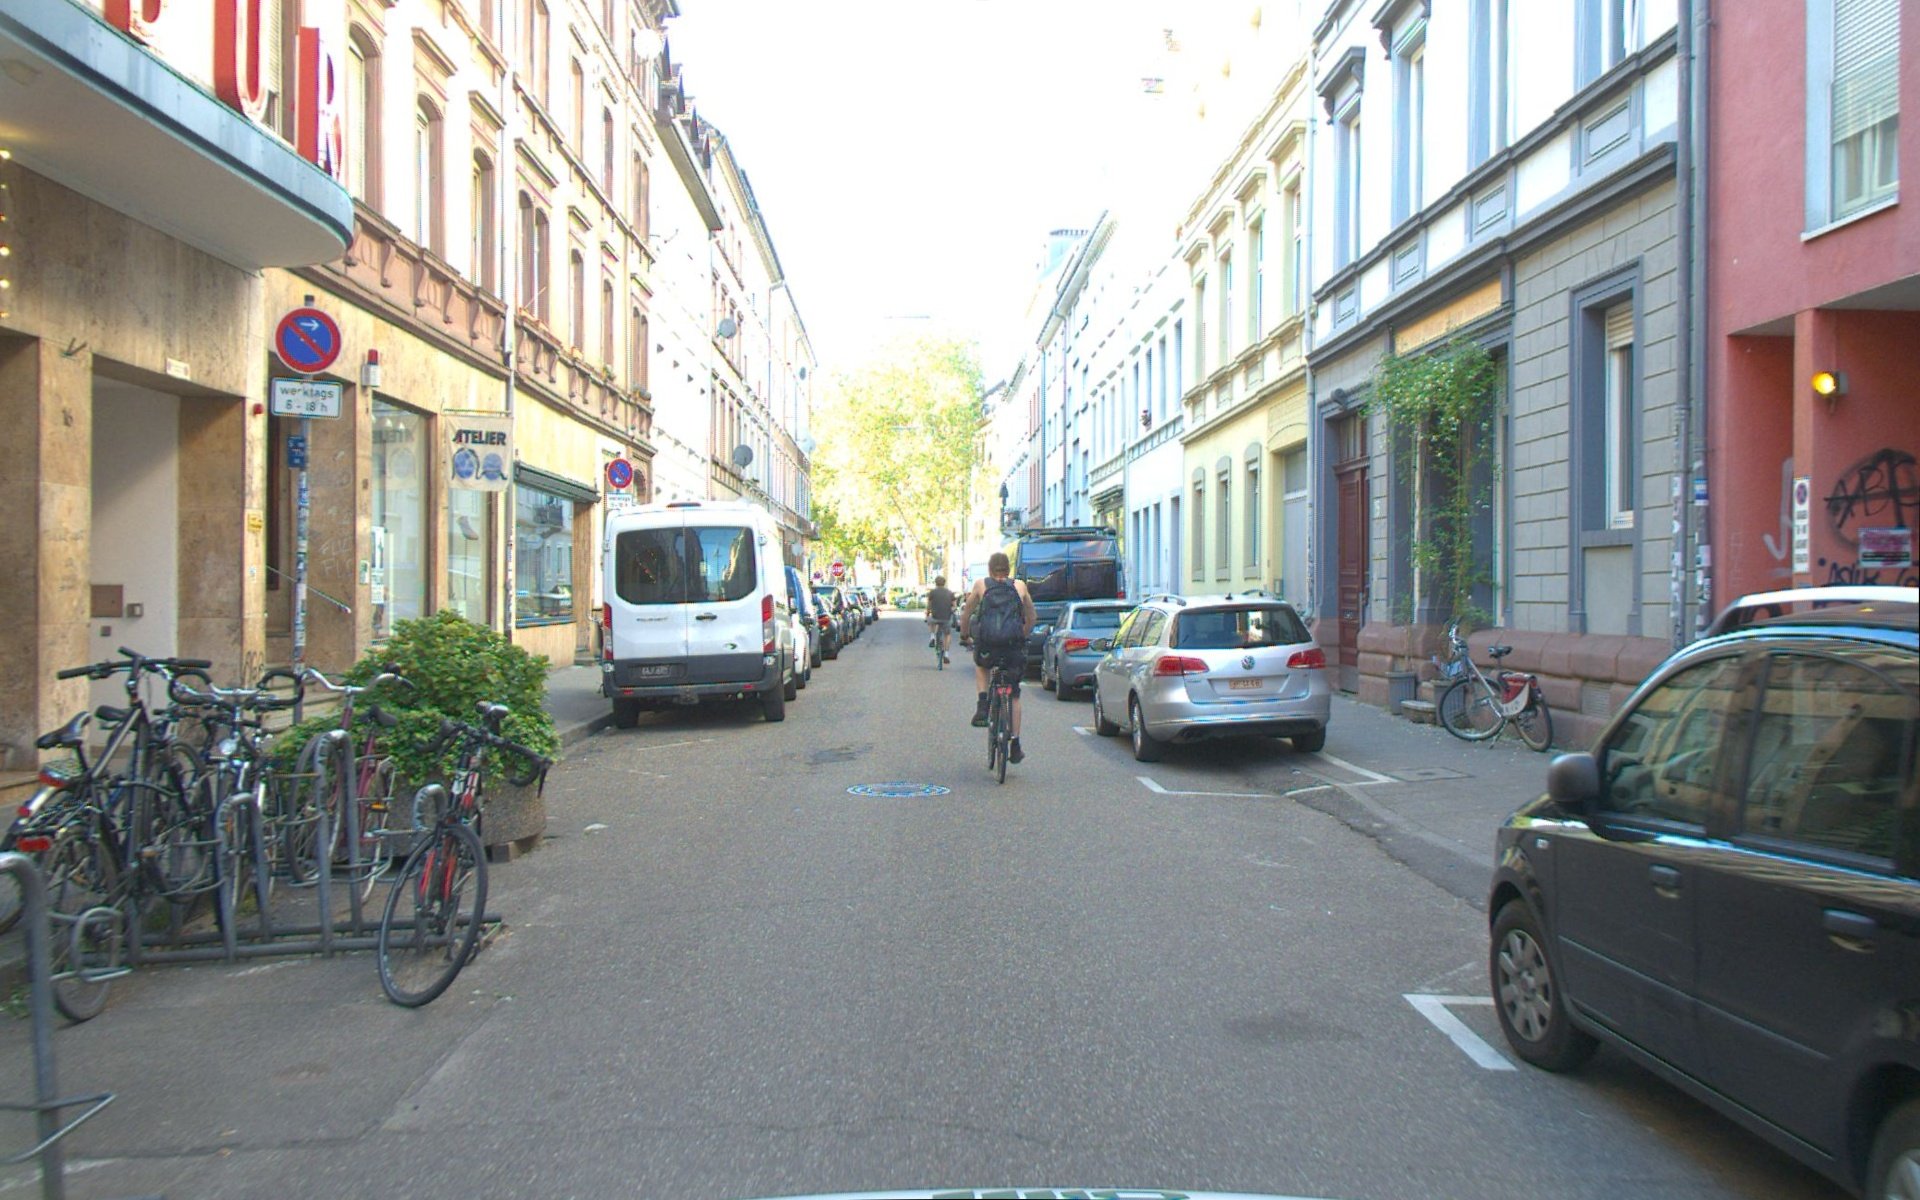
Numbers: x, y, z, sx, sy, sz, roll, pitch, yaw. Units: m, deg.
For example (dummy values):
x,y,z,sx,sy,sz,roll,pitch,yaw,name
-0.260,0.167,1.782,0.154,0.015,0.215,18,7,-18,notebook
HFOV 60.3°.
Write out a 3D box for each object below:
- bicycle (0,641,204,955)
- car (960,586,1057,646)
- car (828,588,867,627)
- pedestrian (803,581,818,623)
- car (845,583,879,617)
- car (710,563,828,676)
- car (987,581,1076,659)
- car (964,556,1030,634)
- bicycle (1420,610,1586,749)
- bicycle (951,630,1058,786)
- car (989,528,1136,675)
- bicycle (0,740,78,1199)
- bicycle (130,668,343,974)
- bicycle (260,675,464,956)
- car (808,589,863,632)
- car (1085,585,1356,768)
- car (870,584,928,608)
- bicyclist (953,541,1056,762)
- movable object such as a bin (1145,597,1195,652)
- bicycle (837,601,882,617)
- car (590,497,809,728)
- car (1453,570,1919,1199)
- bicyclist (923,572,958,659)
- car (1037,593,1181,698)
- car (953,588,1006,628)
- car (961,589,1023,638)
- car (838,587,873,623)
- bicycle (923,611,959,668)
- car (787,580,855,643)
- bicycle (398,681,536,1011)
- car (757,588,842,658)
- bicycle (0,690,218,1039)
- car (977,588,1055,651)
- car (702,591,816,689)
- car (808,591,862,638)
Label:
x,y,z,sx,sy,sz,roll,pitch,yaw,name
-3.794,0.808,7.312,0.332,1.194,1.488,1,0,-6,bicycle
1.341,0.416,47.691,1.779,1.503,4.596,-4,1,-11,car
-4.717,0.281,69.551,1.573,1.556,3.376,-2,0,-4,car
-6.937,0.081,76.596,0.598,1.890,0.753,2,0,-3,pedestrian
-5.270,-0.010,89.114,1.752,1.767,3.874,-1,0,-2,car
-3.599,0.325,31.890,1.791,1.924,4.612,-3,0,-2,car
1.590,0.416,38.162,1.660,1.636,4.373,-2,0,-2,car
1.242,-0.189,58.184,2.159,2.595,6.036,-1,0,0,car
4.814,0.674,14.804,0.696,1.116,1.899,-3,0,-4,bicycle
0.335,0.839,13.587,0.725,1.120,2.041,1,0,-2,bicycle
1.826,0.003,31.691,2.131,2.467,6.306,-2,0,-2,car
-2.417,0.915,3.216,0.535,1.113,1.880,1,0,-6,bicycle
-3.334,0.962,7.749,0.391,1.194,1.668,1,0,-6,bicycle
-2.760,0.939,7.800,0.433,1.066,1.863,1,0,-6,bicycle
-4.450,0.362,59.538,1.639,1.455,3.888,-1,0,0,car
2.423,0.647,16.563,1.751,1.479,4.545,-3,0,-3,car
-4.725,-0.300,128.293,4.383,1.790,1.864,-1,0,-6,car
0.346,0.398,13.434,0.725,1.708,1.116,1,0,-2,bicyclist
4.318,0.491,34.044,0.846,1.060,0.707,-3,1,-4,movable object such as a bin
-6.014,0.507,98.651,2.662,0.907,0.618,-1,0,-5,bicycle
-3.142,0.115,21.252,2.125,2.495,5.918,-2,0,-3,car
2.671,0.723,4.430,1.569,1.566,3.450,-3,0,-1,car
-0.382,0.295,32.393,0.656,1.687,0.877,-1,0,-2,bicyclist
2.197,0.631,25.378,1.712,1.469,4.170,0,0,-2,car
0.738,0.293,64.699,1.697,1.496,4.017,-1,0,-4,car
0.983,0.400,52.731,1.691,1.454,3.830,-1,0,-3,car
-4.884,0.212,76.923,1.514,1.578,3.462,-1,0,-5,car
-0.378,0.759,32.363,0.650,1.055,1.958,-1,0,-2,bicycle
-4.121,0.316,49.592,1.764,1.727,3.999,-3,0,-2,car
-2.023,0.917,6.763,0.453,1.066,1.741,1,0,-17,bicycle
-3.687,0.498,38.583,1.825,1.465,4.642,-1,1,-4,car
-3.201,0.911,6.116,0.409,1.066,1.317,1,0,-5,bicycle
1.413,0.465,42.908,1.711,1.511,4.241,-1,0,-2,car
-3.249,0.602,27.306,1.613,1.472,3.837,-1,0,-4,car
-4.094,0.448,54.573,1.559,1.465,3.653,-1,0,-1,car
